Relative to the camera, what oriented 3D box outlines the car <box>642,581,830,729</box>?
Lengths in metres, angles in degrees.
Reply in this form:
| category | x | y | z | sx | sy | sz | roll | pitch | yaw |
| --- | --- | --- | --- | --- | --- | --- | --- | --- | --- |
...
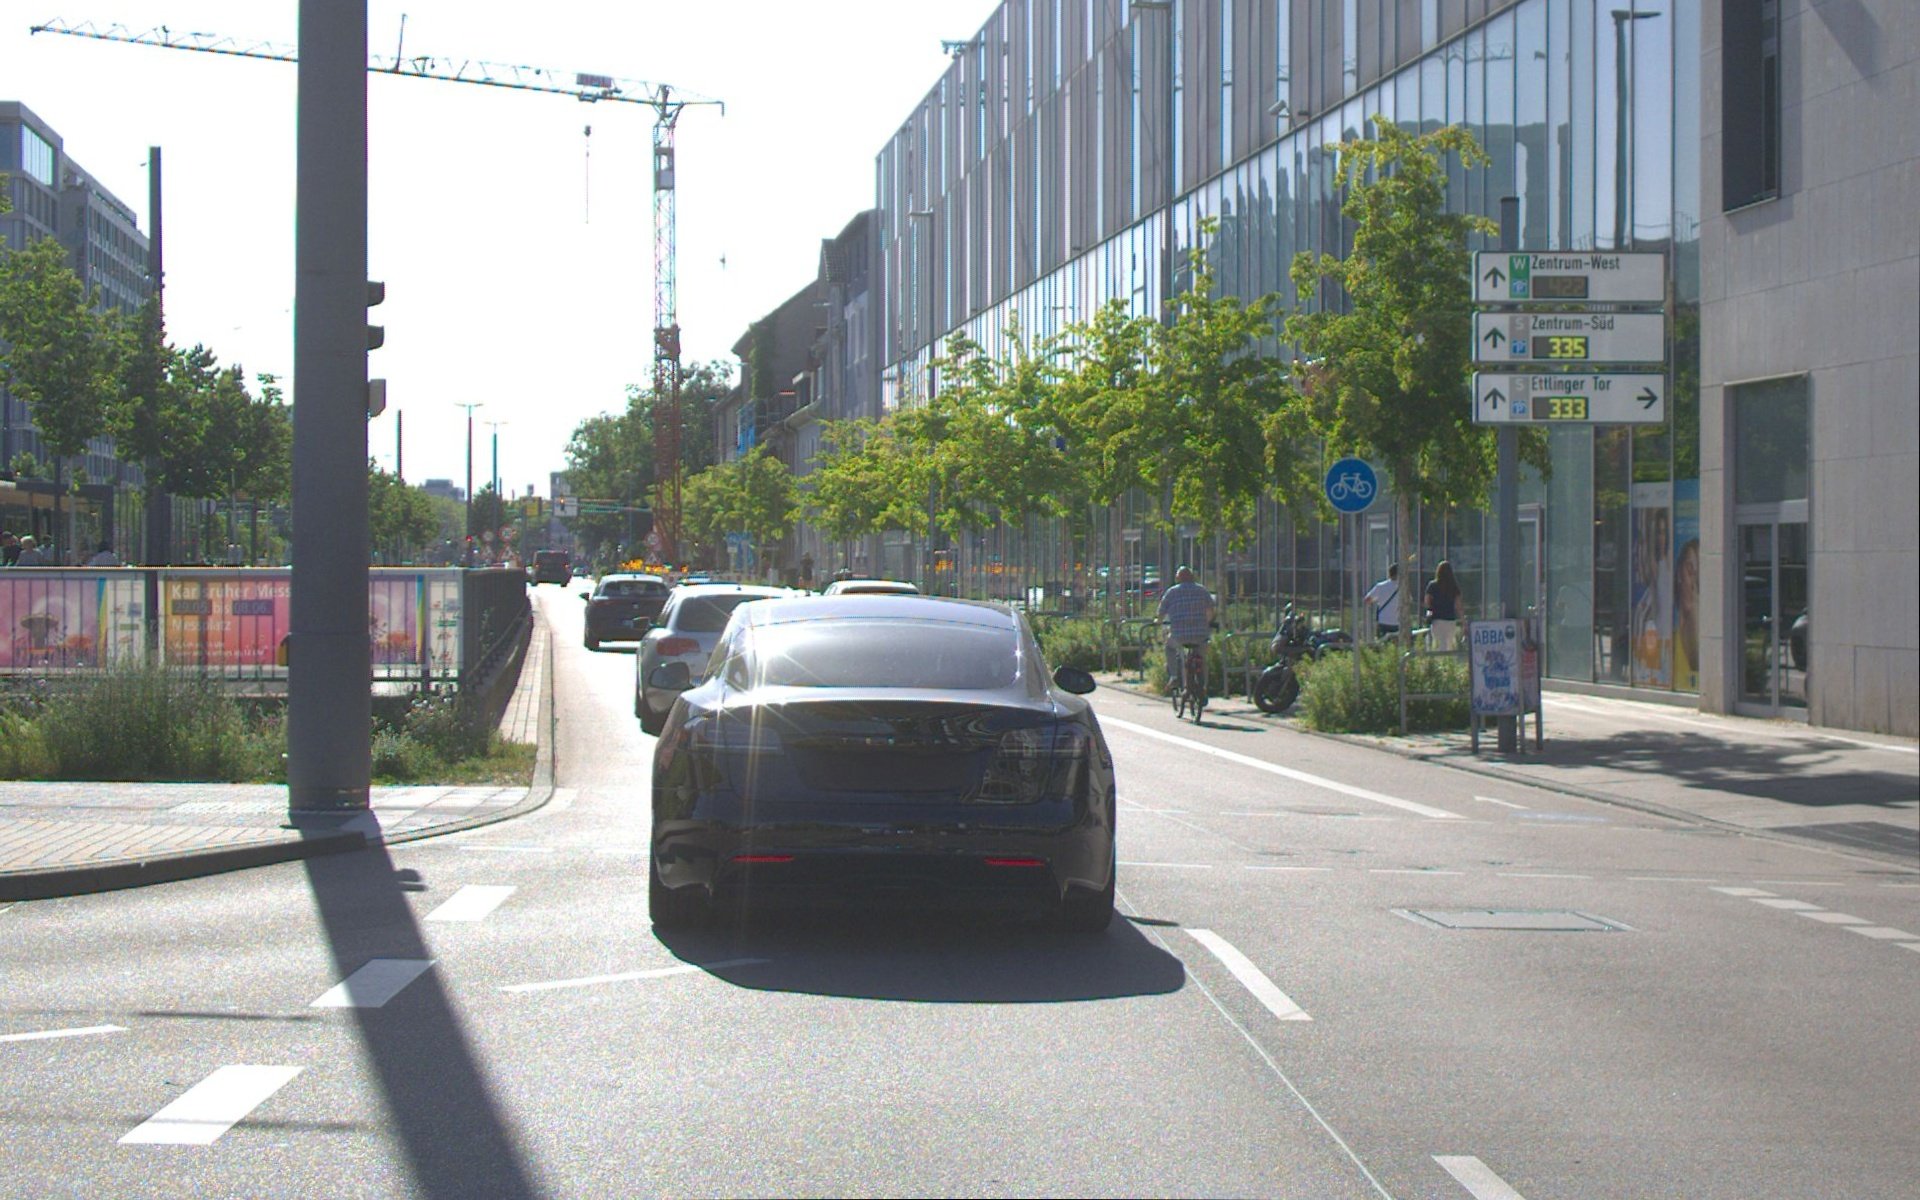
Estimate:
| category | x | y | z | sx | sy | sz | roll | pitch | yaw |
| --- | --- | --- | --- | --- | --- | --- | --- | --- | --- |
| car | -2.288 | 0.510 | 34.317 | 1.716 | 1.315 | 4.001 | 1 | 1 | -6 |

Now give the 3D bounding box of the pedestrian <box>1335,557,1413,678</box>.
| category | x | y | z | sx | sy | sz | roll | pitch | yaw |
| --- | --- | --- | --- | --- | --- | --- | --- | --- | --- |
| pedestrian | 5.729 | 0.232 | 47.574 | 0.820 | 1.652 | 0.900 | 1 | 1 | -11 |

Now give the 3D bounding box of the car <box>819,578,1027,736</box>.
| category | x | y | z | sx | sy | sz | roll | pitch | yaw |
| --- | --- | --- | --- | --- | --- | --- | --- | --- | --- |
| car | -0.426 | 0.530 | 34.632 | 1.716 | 1.427 | 4.001 | 1 | 1 | -6 |

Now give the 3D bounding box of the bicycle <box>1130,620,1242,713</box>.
| category | x | y | z | sx | sy | sz | roll | pitch | yaw |
| --- | --- | --- | --- | --- | --- | --- | --- | --- | --- |
| bicycle | 2.585 | 0.748 | 39.609 | 0.728 | 0.980 | 2.334 | 1 | 1 | -10 |

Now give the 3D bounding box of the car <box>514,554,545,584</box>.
| category | x | y | z | sx | sy | sz | roll | pitch | yaw |
| --- | --- | --- | --- | --- | --- | --- | --- | --- | --- |
| car | -26.742 | -1.958 | 213.606 | 1.813 | 1.803 | 4.039 | 1 | 1 | -5 |

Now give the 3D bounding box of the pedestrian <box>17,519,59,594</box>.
| category | x | y | z | sx | sy | sz | roll | pitch | yaw |
| --- | --- | --- | --- | --- | --- | --- | --- | --- | --- |
| pedestrian | -20.032 | -0.944 | 74.682 | 0.741 | 1.623 | 0.862 | 0 | 1 | -6 |

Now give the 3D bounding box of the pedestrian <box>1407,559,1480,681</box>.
| category | x | y | z | sx | sy | sz | roll | pitch | yaw |
| --- | --- | --- | --- | --- | --- | --- | --- | --- | --- |
| pedestrian | 6.668 | 0.267 | 47.444 | 0.706 | 1.652 | 0.900 | -2 | 1 | -11 |

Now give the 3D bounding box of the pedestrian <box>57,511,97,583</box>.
| category | x | y | z | sx | sy | sz | roll | pitch | yaw |
| --- | --- | --- | --- | --- | --- | --- | --- | --- | --- |
| pedestrian | -19.885 | -1.193 | 77.454 | 0.741 | 1.623 | 0.862 | 0 | 1 | -6 |

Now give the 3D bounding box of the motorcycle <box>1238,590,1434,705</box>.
| category | x | y | z | sx | sy | sz | roll | pitch | yaw |
| --- | --- | --- | --- | --- | --- | --- | --- | --- | --- |
| motorcycle | 4.462 | 0.555 | 40.876 | 2.189 | 1.319 | 0.903 | -1 | 1 | -2 |

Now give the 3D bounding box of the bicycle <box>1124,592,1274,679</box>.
| category | x | y | z | sx | sy | sz | roll | pitch | yaw |
| --- | --- | --- | --- | --- | --- | --- | --- | --- | --- |
| bicycle | 3.442 | 0.503 | 49.683 | 2.085 | 1.201 | 0.950 | -1 | 1 | 0 |

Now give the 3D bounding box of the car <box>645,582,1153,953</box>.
| category | x | y | z | sx | sy | sz | roll | pitch | yaw |
| --- | --- | --- | --- | --- | --- | --- | --- | --- | --- |
| car | -0.419 | 0.658 | 15.887 | 1.999 | 1.429 | 4.413 | 1 | 0 | -5 |

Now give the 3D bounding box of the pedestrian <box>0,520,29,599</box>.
| category | x | y | z | sx | sy | sz | roll | pitch | yaw |
| --- | --- | --- | --- | --- | --- | --- | --- | --- | --- |
| pedestrian | -19.718 | -0.843 | 71.114 | 0.741 | 1.623 | 0.862 | 0 | 1 | -6 |

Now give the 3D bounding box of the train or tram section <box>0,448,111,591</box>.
| category | x | y | z | sx | sy | sz | roll | pitch | yaw |
| --- | --- | --- | --- | --- | --- | --- | --- | --- | --- |
| train or tram section | -24.251 | -2.012 | 86.273 | 2.870 | 3.268 | 22.148 | 2 | 1 | -7 |

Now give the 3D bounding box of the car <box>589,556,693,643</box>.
| category | x | y | z | sx | sy | sz | roll | pitch | yaw |
| --- | --- | --- | --- | --- | --- | --- | --- | --- | --- |
| car | -6.146 | -0.035 | 66.534 | 1.888 | 1.590 | 4.001 | 0 | 1 | -4 |

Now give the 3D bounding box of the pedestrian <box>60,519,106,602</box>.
| category | x | y | z | sx | sy | sz | roll | pitch | yaw |
| --- | --- | --- | --- | --- | --- | --- | --- | --- | --- |
| pedestrian | -17.397 | -0.784 | 68.211 | 0.741 | 1.623 | 0.862 | 0 | 1 | -6 |

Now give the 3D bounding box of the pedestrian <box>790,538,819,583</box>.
| category | x | y | z | sx | sy | sz | roll | pitch | yaw |
| --- | --- | --- | --- | --- | --- | --- | --- | --- | --- |
| pedestrian | -6.523 | -1.659 | 143.955 | 1.095 | 1.857 | 1.523 | 0 | 1 | -8 |

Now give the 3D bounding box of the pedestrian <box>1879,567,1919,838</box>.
| category | x | y | z | sx | sy | sz | roll | pitch | yaw |
| --- | --- | --- | --- | --- | --- | --- | --- | --- | --- |
| pedestrian | 6.327 | 0.640 | 21.868 | 0.657 | 1.696 | 0.698 | -2 | 1 | -8 |

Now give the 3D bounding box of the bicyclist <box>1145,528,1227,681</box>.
| category | x | y | z | sx | sy | sz | roll | pitch | yaw |
| --- | --- | --- | --- | --- | --- | --- | --- | --- | --- |
| bicyclist | 2.600 | 0.045 | 39.614 | 0.724 | 1.731 | 0.998 | 0 | 1 | -10 |

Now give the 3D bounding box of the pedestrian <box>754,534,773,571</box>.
| category | x | y | z | sx | sy | sz | roll | pitch | yaw |
| --- | --- | --- | --- | --- | --- | --- | --- | --- | --- |
| pedestrian | -9.875 | -2.385 | 172.845 | 0.851 | 1.857 | 0.930 | 0 | 1 | -8 |

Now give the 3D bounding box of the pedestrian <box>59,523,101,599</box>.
| category | x | y | z | sx | sy | sz | roll | pitch | yaw |
| --- | --- | --- | --- | --- | --- | --- | --- | --- | --- |
| pedestrian | -18.913 | -0.833 | 73.888 | 0.741 | 1.623 | 0.947 | 0 | 1 | -6 |

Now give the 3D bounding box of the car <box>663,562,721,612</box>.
| category | x | y | z | sx | sy | sz | roll | pitch | yaw |
| --- | --- | --- | --- | --- | --- | --- | --- | --- | --- |
| car | -9.059 | -0.455 | 116.410 | 1.888 | 1.590 | 4.001 | 0 | 1 | -4 |

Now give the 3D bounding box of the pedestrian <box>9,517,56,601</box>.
| category | x | y | z | sx | sy | sz | roll | pitch | yaw |
| --- | --- | --- | --- | --- | --- | --- | --- | --- | --- |
| pedestrian | -18.094 | -0.804 | 67.073 | 0.741 | 1.623 | 0.862 | 0 | 1 | -6 |

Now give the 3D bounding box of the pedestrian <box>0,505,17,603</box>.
| category | x | y | z | sx | sy | sz | roll | pitch | yaw |
| --- | --- | --- | --- | --- | --- | --- | --- | --- | --- |
| pedestrian | -18.448 | -0.871 | 65.306 | 0.886 | 1.844 | 1.007 | 0 | 1 | -7 |

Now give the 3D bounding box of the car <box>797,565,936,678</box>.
| category | x | y | z | sx | sy | sz | roll | pitch | yaw |
| --- | --- | --- | --- | --- | --- | --- | --- | --- | --- |
| car | -1.430 | 0.287 | 51.185 | 1.784 | 1.540 | 4.039 | 1 | 1 | -5 |

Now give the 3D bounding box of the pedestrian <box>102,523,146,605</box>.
| category | x | y | z | sx | sy | sz | roll | pitch | yaw |
| --- | --- | --- | --- | --- | --- | --- | --- | --- | --- |
| pedestrian | -16.609 | -0.716 | 68.308 | 0.741 | 1.623 | 0.862 | 0 | 1 | -6 |
